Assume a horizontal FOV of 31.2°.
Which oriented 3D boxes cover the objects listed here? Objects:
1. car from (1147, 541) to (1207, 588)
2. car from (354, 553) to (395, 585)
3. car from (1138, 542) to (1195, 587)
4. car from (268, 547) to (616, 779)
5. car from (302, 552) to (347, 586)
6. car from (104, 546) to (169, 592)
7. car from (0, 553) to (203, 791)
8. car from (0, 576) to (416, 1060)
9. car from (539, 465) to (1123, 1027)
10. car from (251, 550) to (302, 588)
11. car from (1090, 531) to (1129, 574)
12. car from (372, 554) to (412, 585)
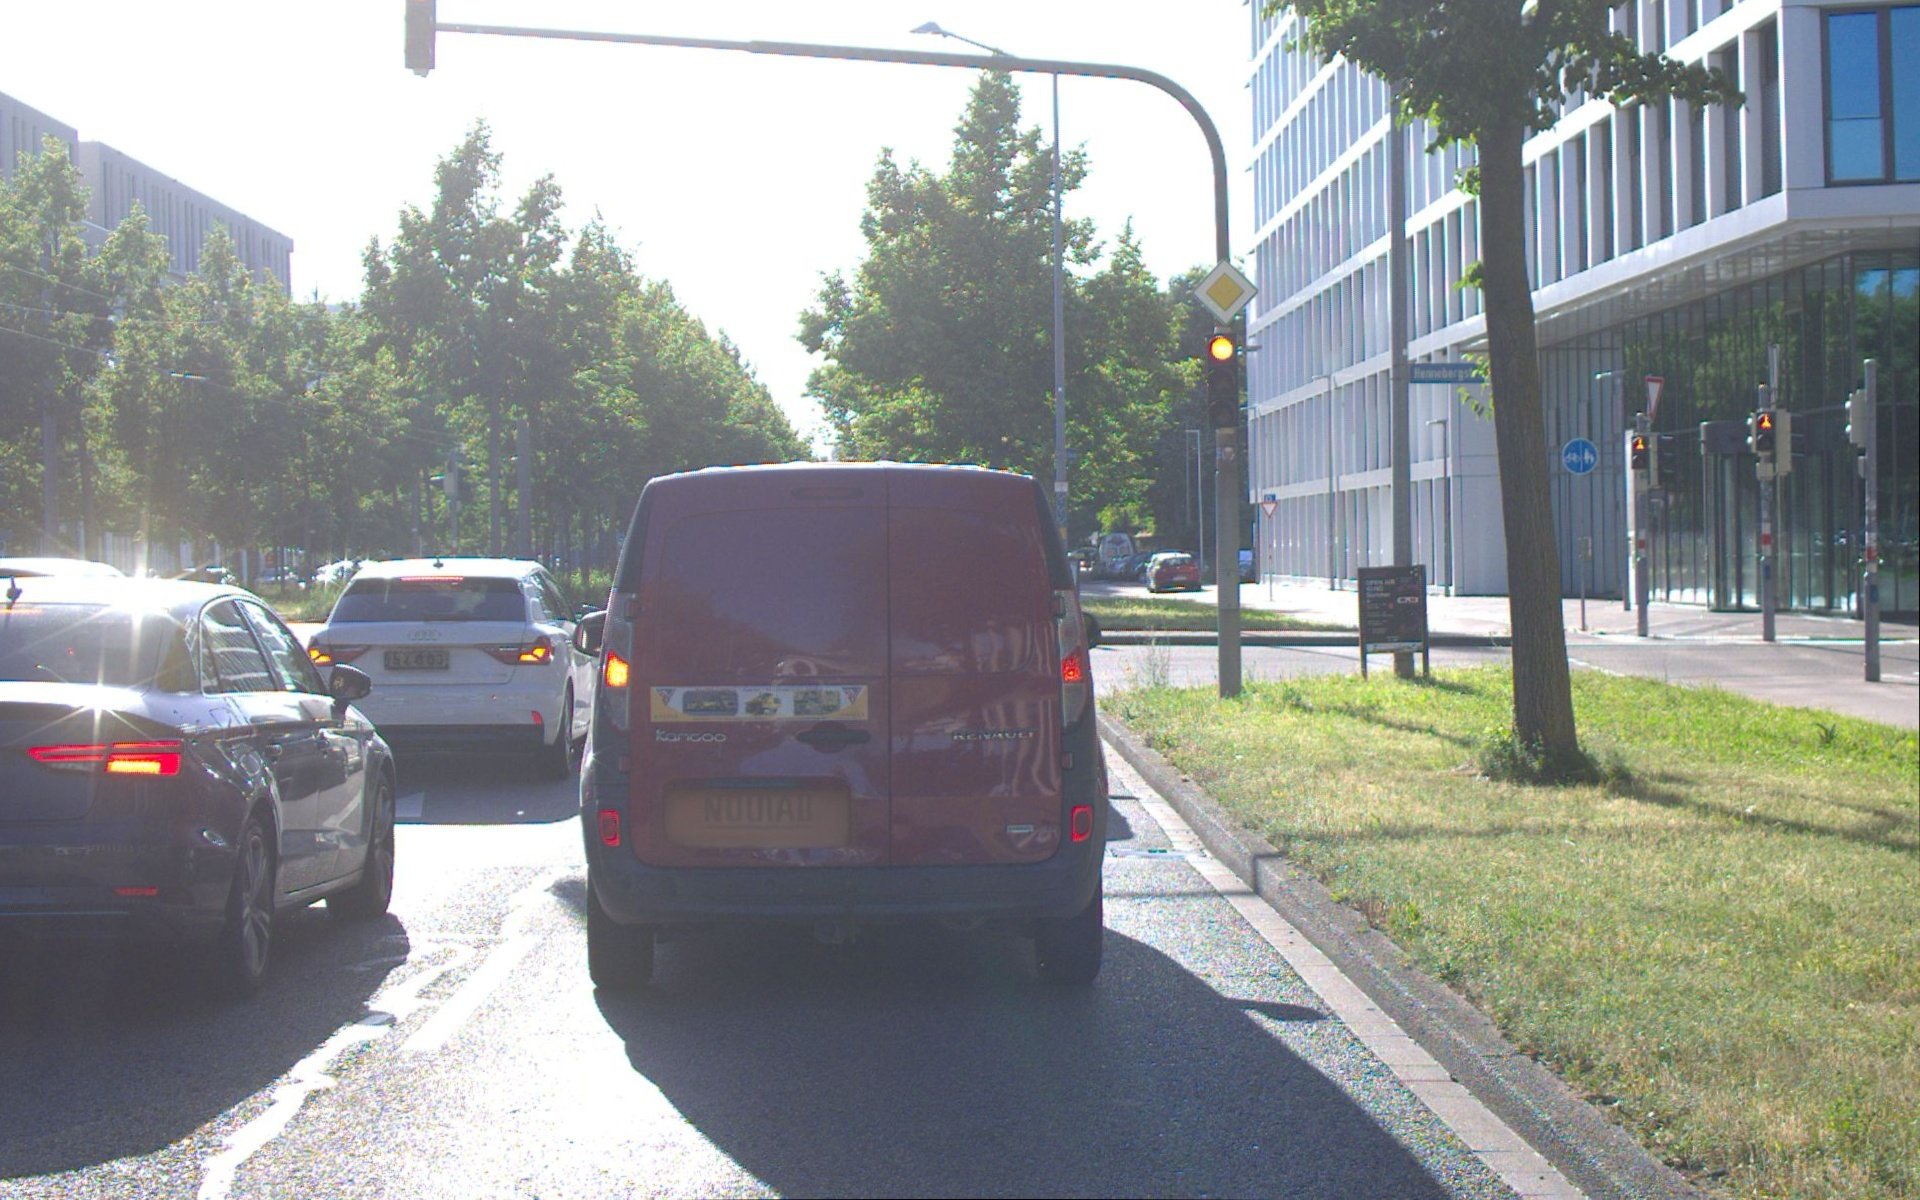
[{"bbox_3d":[8.423,-1.401,133.694,1.993,1.776,4.000,-1,1,-1],"label":"car"},{"bbox_3d":[-37.957,-2.010,223.012,1.993,2.007,4.000,-1,1,-1],"label":"car"},{"bbox_3d":[8.312,-1.445,138.703,1.993,1.776,4.000,-1,1,-1],"label":"car"},{"bbox_3d":[-3.416,0.363,23.318,1.803,1.421,3.901,-1,1,-1],"label":"car"},{"bbox_3d":[-37.867,-1.858,204.993,1.993,2.007,4.000,-1,1,-1],"label":"car"},{"bbox_3d":[-37.145,-1.425,155.092,1.993,2.007,4.000,-1,1,-1],"label":"car"},{"bbox_3d":[-6.739,0.436,24.658,1.799,1.478,4.569,3,1,-3],"label":"car"},{"bbox_3d":[-3.231,0.650,12.561,1.842,1.421,4.339,-1,1,-1],"label":"car"},{"bbox_3d":[-0.435,0.434,12.951,1.842,1.774,4.000,-1,1,-1],"label":"car"},{"bbox_3d":[-37.409,-1.707,188.179,1.993,2.007,4.000,-1,1,-1],"label":"car"},{"bbox_3d":[8.874,-2.810,204.115,1.993,2.488,4.987,-1,1,-1],"label":"car"},{"bbox_3d":[-37.749,-2.051,228.636,1.993,2.007,4.000,-1,1,-1],"label":"car"}]
